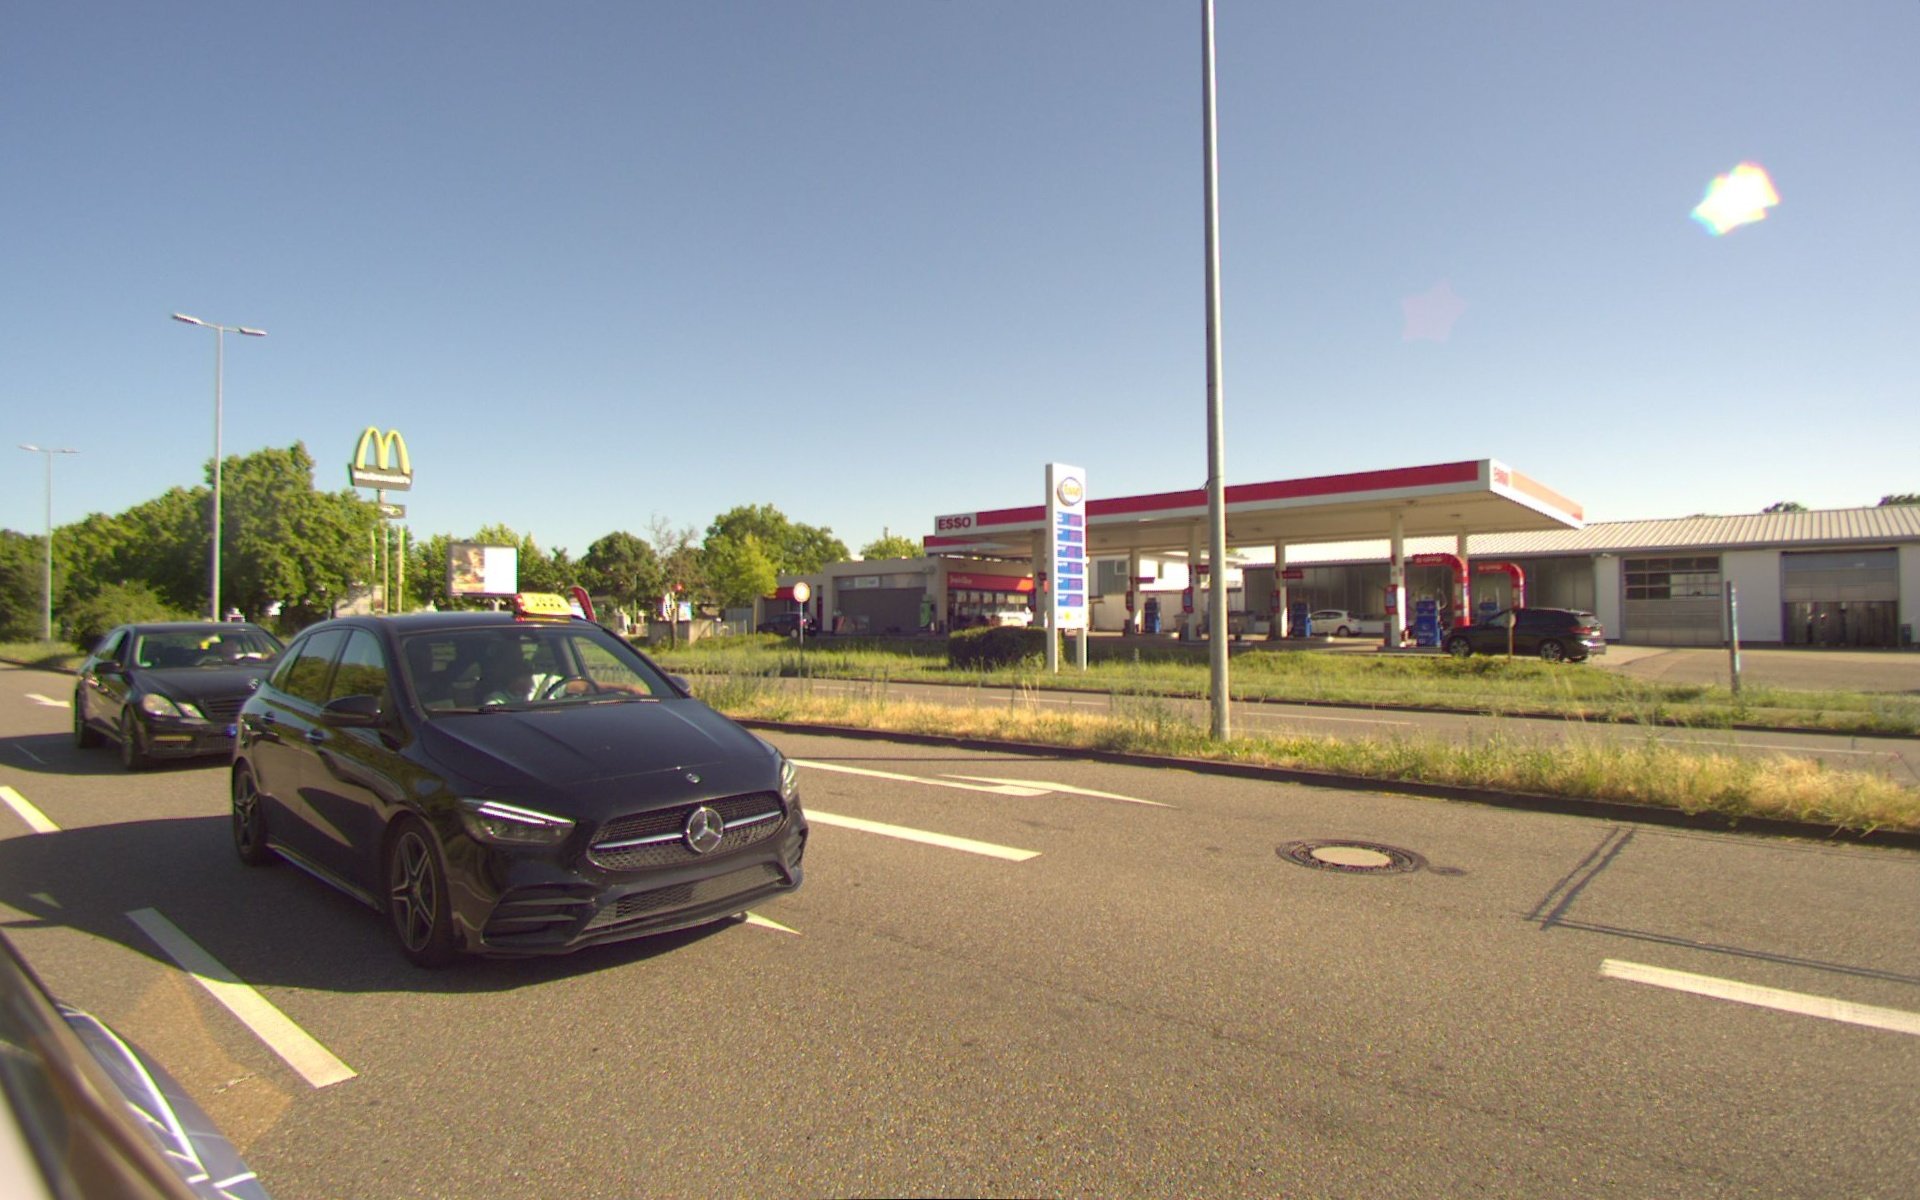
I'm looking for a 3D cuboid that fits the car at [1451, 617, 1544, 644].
[{"bbox_3d":[26.227,1.462,49.430,3.729,1.196,1.658,-1,0,41],"label":"car"}]

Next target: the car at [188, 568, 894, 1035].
[{"bbox_3d":[-2.630,0.745,5.669,4.579,1.614,1.765,-2,-1,40],"label":"car"}]

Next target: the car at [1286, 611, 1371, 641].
[{"bbox_3d":[19.986,1.379,54.931,3.855,1.500,1.973,-1,0,41],"label":"car"}]

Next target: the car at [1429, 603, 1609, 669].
[{"bbox_3d":[16.611,1.022,30.230,1.781,1.739,4.329,-4,2,-41],"label":"car"}]

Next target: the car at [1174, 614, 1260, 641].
[{"bbox_3d":[15.145,1.603,59.784,4.540,1.477,1.973,-1,0,41],"label":"car"}]

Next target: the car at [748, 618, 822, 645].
[{"bbox_3d":[-9.660,1.735,55.736,3.998,1.416,1.973,-2,-2,41],"label":"car"}]

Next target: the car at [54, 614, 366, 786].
[{"bbox_3d":[-8.576,0.940,11.420,4.461,1.521,1.928,-1,0,41],"label":"car"}]
